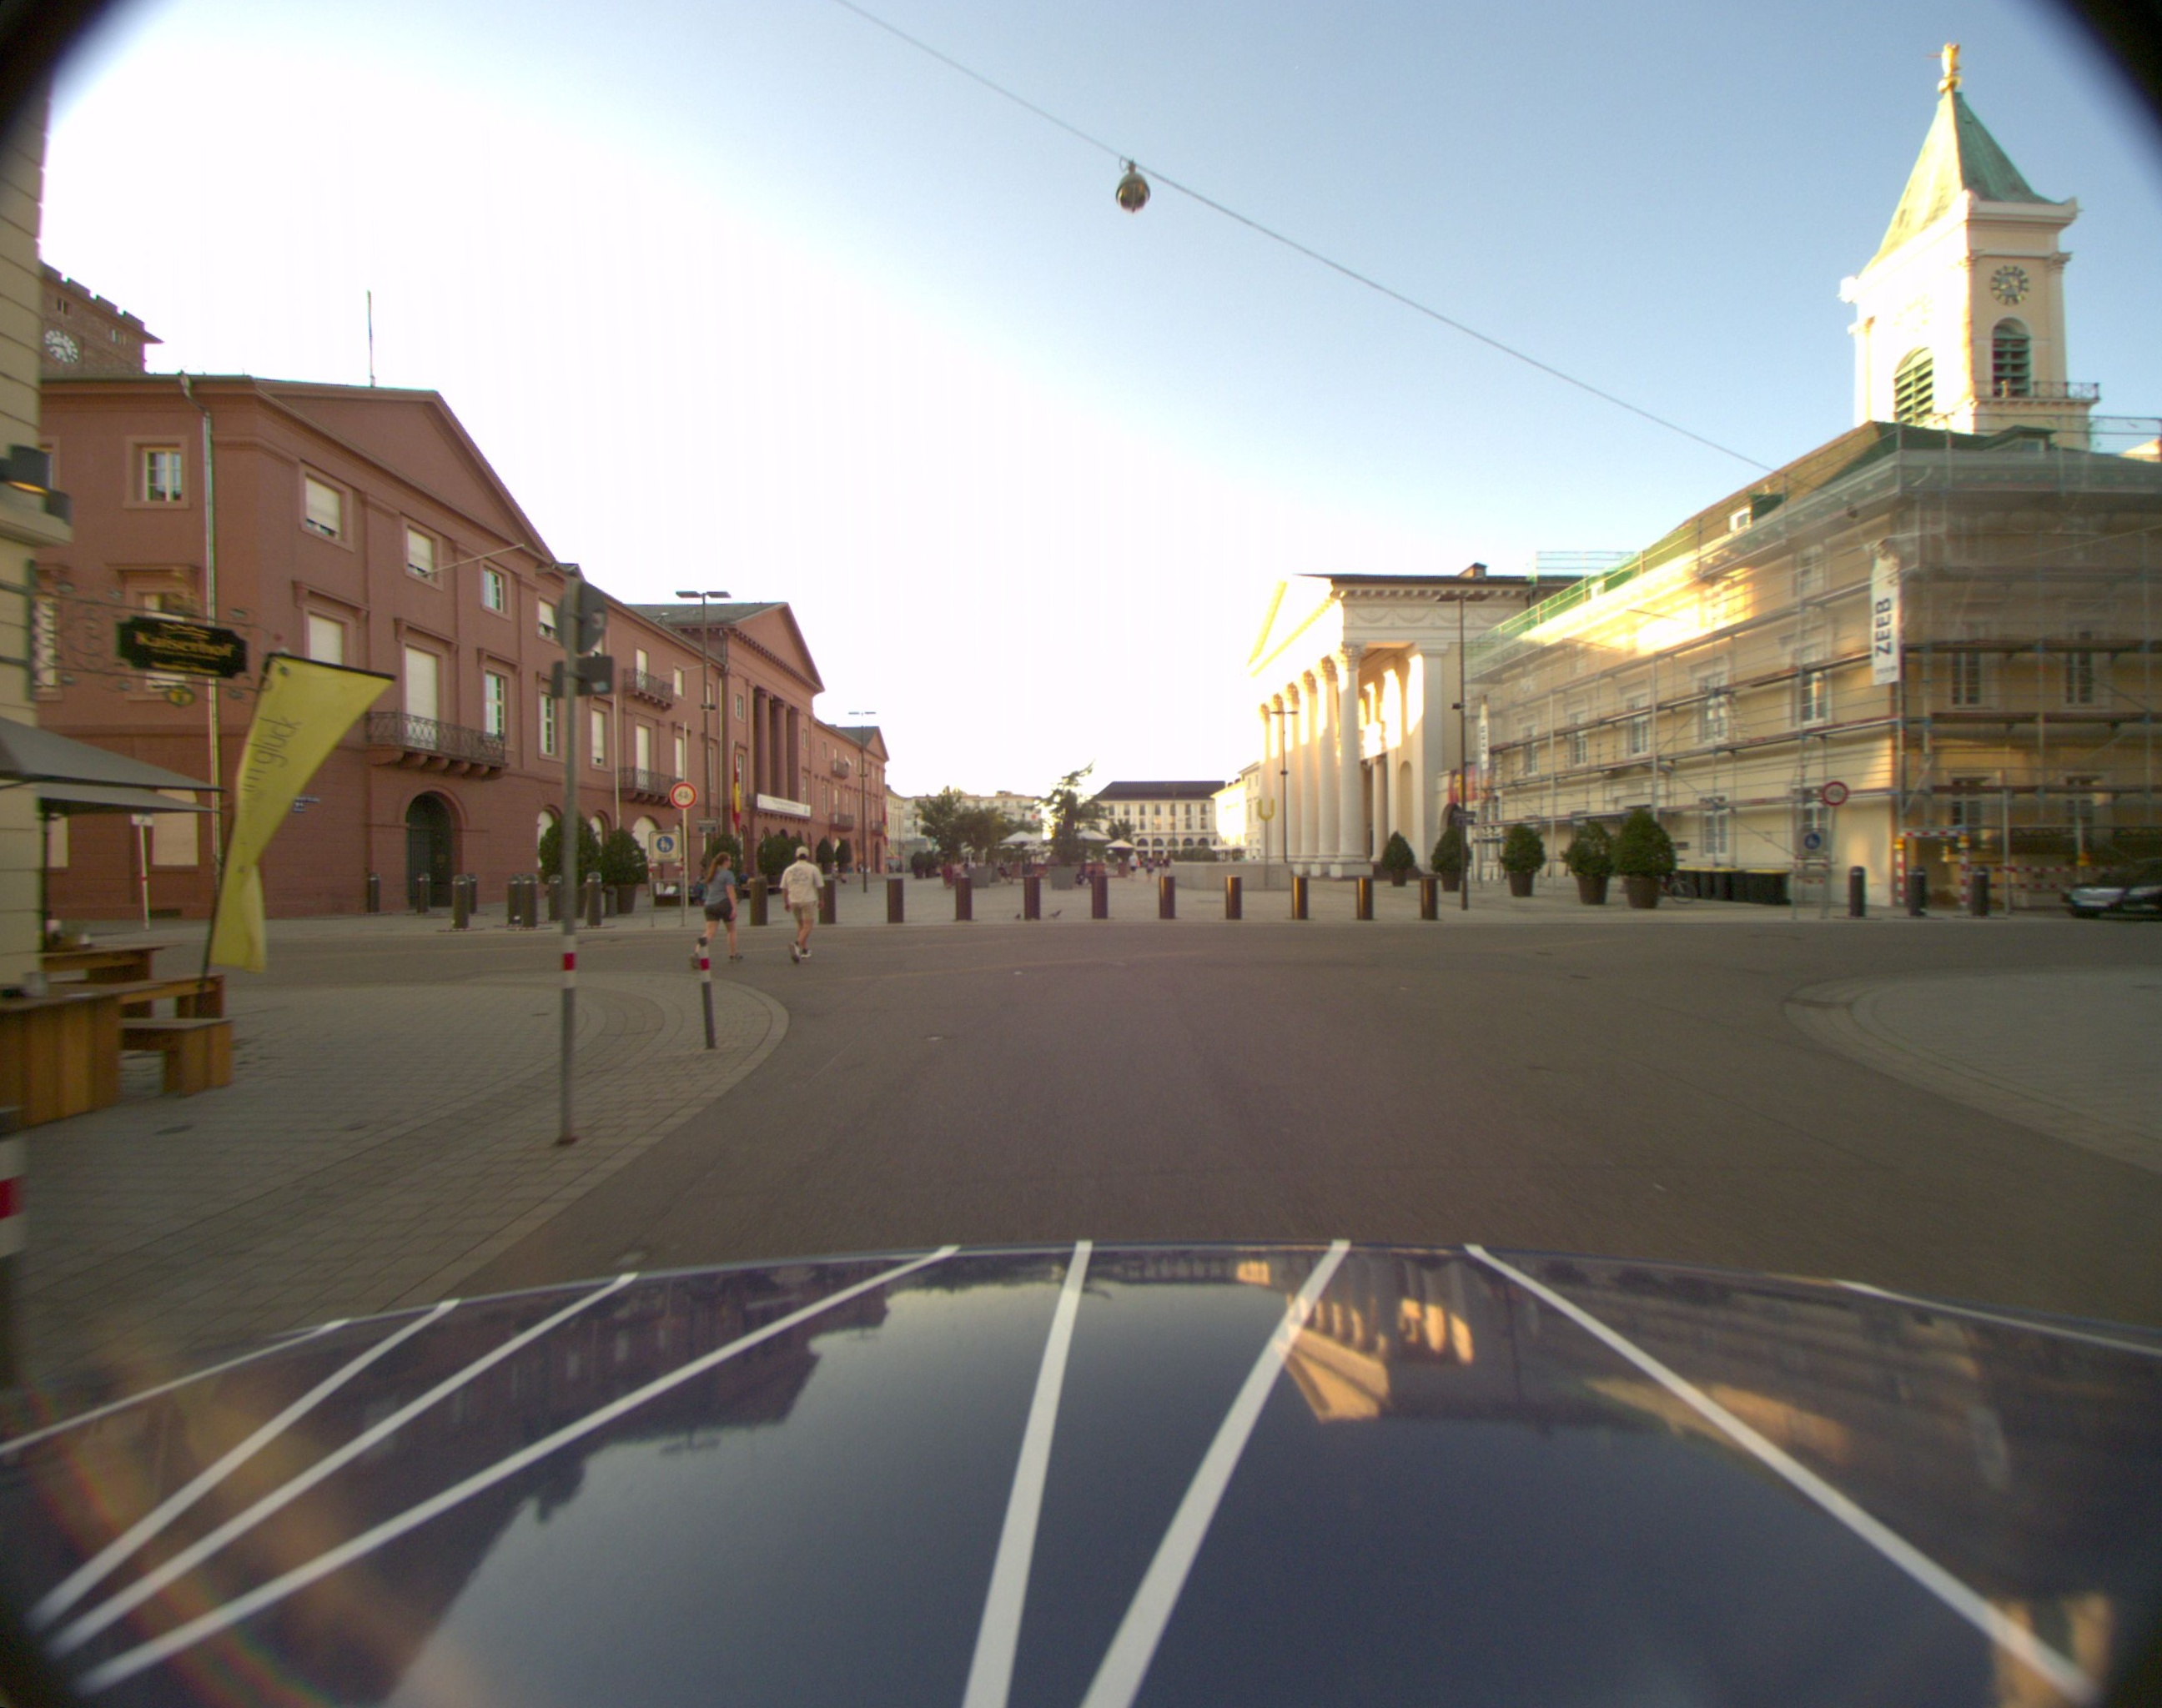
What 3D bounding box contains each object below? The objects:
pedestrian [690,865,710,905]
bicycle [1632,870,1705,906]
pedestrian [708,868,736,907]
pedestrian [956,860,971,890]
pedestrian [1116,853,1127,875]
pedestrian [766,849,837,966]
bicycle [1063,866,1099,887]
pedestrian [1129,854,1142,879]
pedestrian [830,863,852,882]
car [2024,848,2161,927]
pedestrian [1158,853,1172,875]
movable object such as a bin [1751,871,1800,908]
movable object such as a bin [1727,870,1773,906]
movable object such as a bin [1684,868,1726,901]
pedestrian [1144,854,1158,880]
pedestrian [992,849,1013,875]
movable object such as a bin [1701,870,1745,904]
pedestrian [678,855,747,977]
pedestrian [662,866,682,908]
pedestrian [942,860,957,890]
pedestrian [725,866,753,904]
[{"bbox_3d":[-13.944,1.119,27.817,0.585,1.439,0.829,-1,1,-30],"label":"pedestrian"},{"bbox_3d":[19.194,1.091,24.882,0.635,1.105,1.849,-1,0,-20],"label":"bicycle"},{"bbox_3d":[-13.483,1.258,28.526,0.828,1.439,0.585,0,1,31],"label":"pedestrian"},{"bbox_3d":[-6.240,1.108,40.396,0.684,1.549,0.652,-1,1,-4],"label":"pedestrian"},{"bbox_3d":[3.189,0.802,60.008,0.856,1.720,0.881,0,0,2],"label":"pedestrian"},{"bbox_3d":[-4.289,0.785,11.665,0.667,1.720,0.767,0,1,41],"label":"pedestrian"},{"bbox_3d":[-0.001,1.196,40.674,1.683,1.115,0.846,0,0,33],"label":"bicycle"},{"bbox_3d":[3.702,0.844,51.657,0.856,1.720,0.881,0,0,2],"label":"pedestrian"},{"bbox_3d":[-16.604,1.253,52.580,1.405,1.254,1.325,-1,0,-14],"label":"pedestrian"},{"bbox_3d":[25.386,0.740,17.801,3.996,1.726,2.000,-1,0,3],"label":"car"},{"bbox_3d":[7.521,0.904,68.073,1.091,1.900,0.881,0,1,2],"label":"pedestrian"},{"bbox_3d":[20.877,1.055,22.845,0.811,1.071,0.722,-1,1,1],"label":"movable object such as a bin"},{"bbox_3d":[20.892,1.055,23.740,0.811,1.071,0.722,-1,1,1],"label":"movable object such as a bin"},{"bbox_3d":[20.848,1.024,25.401,0.811,1.071,0.722,-1,1,1],"label":"movable object such as a bin"},{"bbox_3d":[4.727,0.889,51.160,0.856,1.720,0.881,0,0,2],"label":"pedestrian"},{"bbox_3d":[-6.797,0.715,65.856,1.254,2.222,1.501,-1,1,-34],"label":"pedestrian"},{"bbox_3d":[20.811,1.073,24.632,0.811,1.071,0.722,-1,1,1],"label":"movable object such as a bin"},{"bbox_3d":[-5.400,0.872,11.138,0.607,1.720,0.719,0,1,41],"label":"pedestrian"},{"bbox_3d":[-14.663,1.171,27.242,0.585,1.439,0.829,-1,1,-30],"label":"pedestrian"},{"bbox_3d":[-6.967,1.123,40.336,0.684,1.557,0.652,-1,1,-4],"label":"pedestrian"},{"bbox_3d":[-13.199,1.196,29.319,0.828,1.439,0.585,0,1,29],"label":"pedestrian"}]
